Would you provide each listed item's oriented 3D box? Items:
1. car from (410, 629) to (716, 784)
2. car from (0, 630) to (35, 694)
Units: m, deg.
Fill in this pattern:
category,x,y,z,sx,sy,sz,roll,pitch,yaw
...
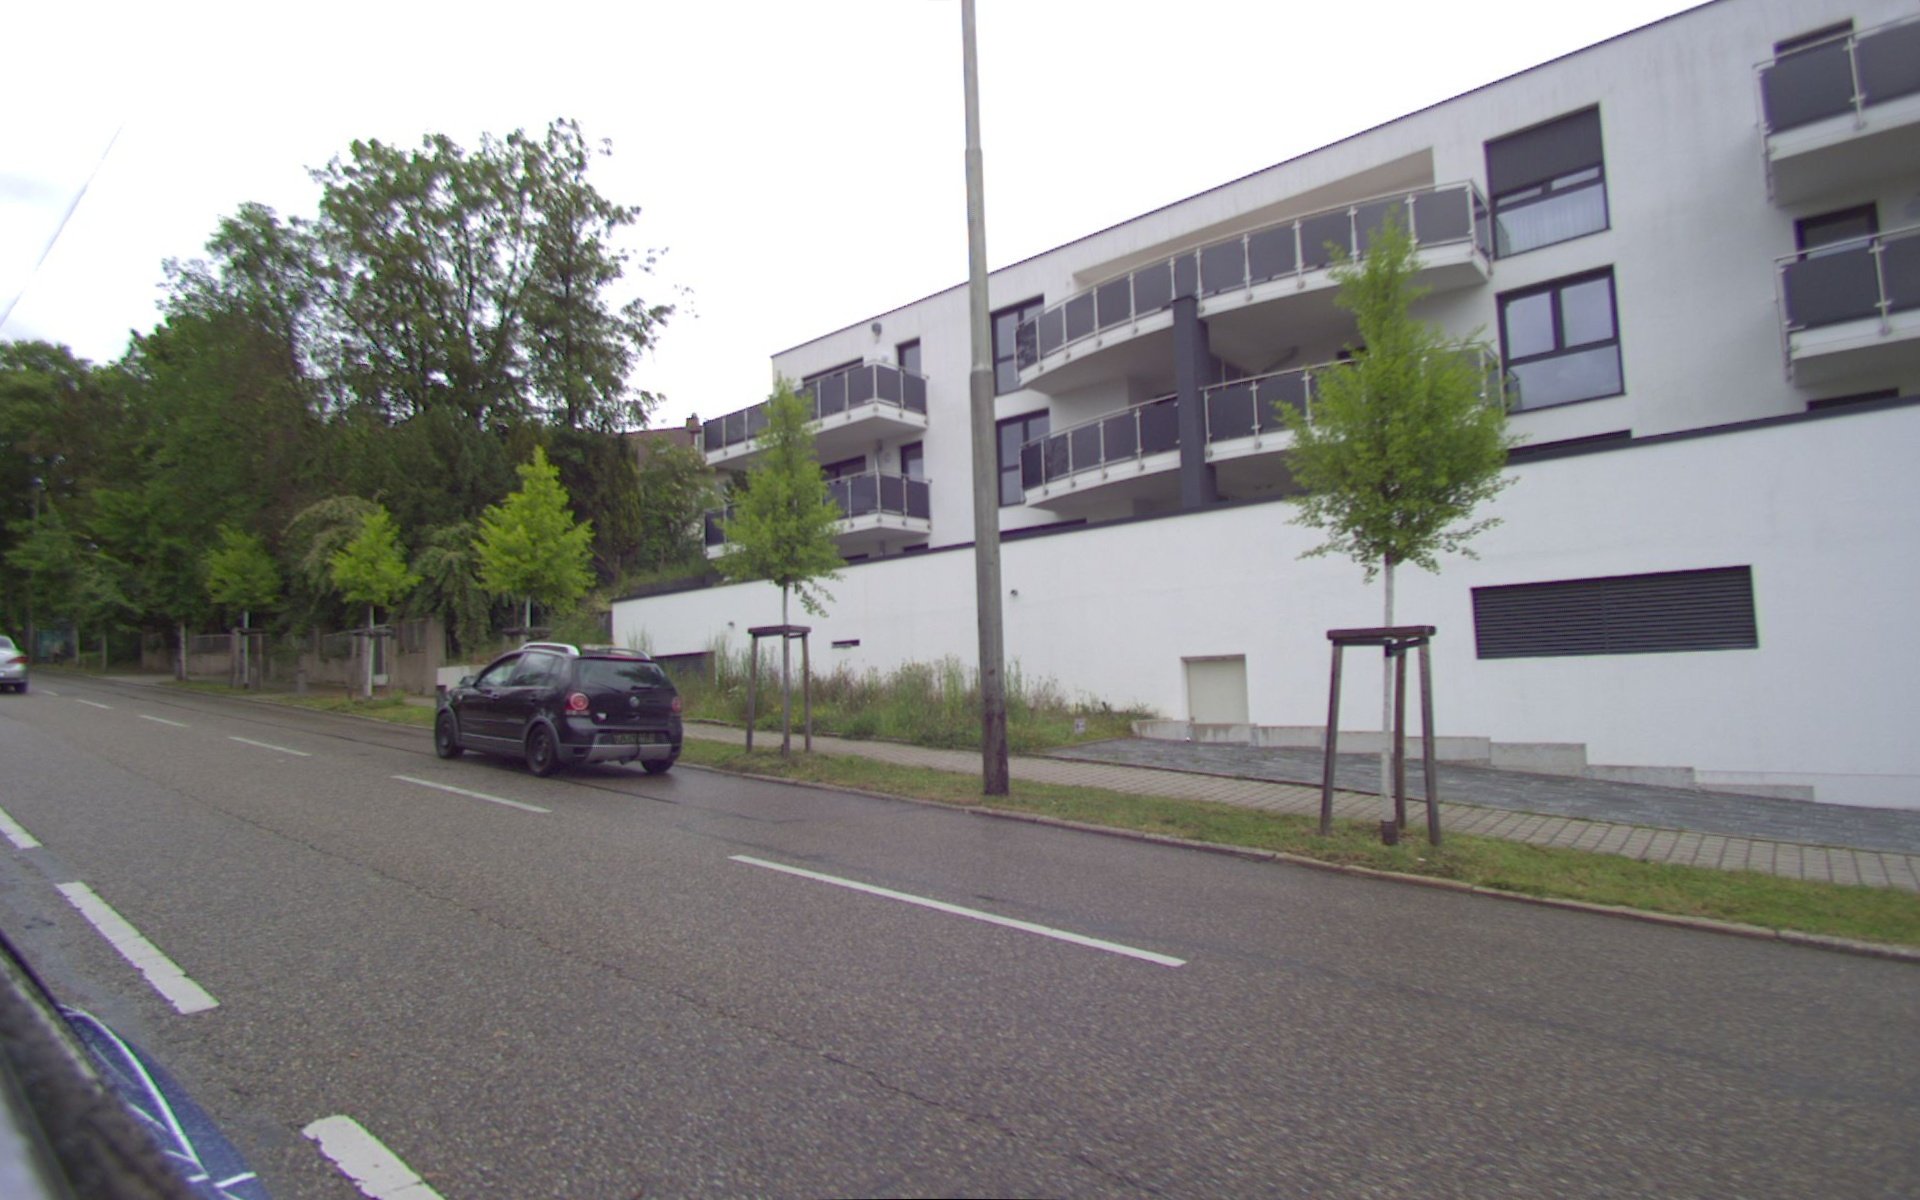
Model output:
category,x,y,z,sx,sy,sz,roll,pitch,yaw
car,-4.908,1.201,12.304,3.915,1.561,1.728,-1,-6,40
car,-24.152,1.468,24.748,3.998,1.497,1.743,-1,-4,41
